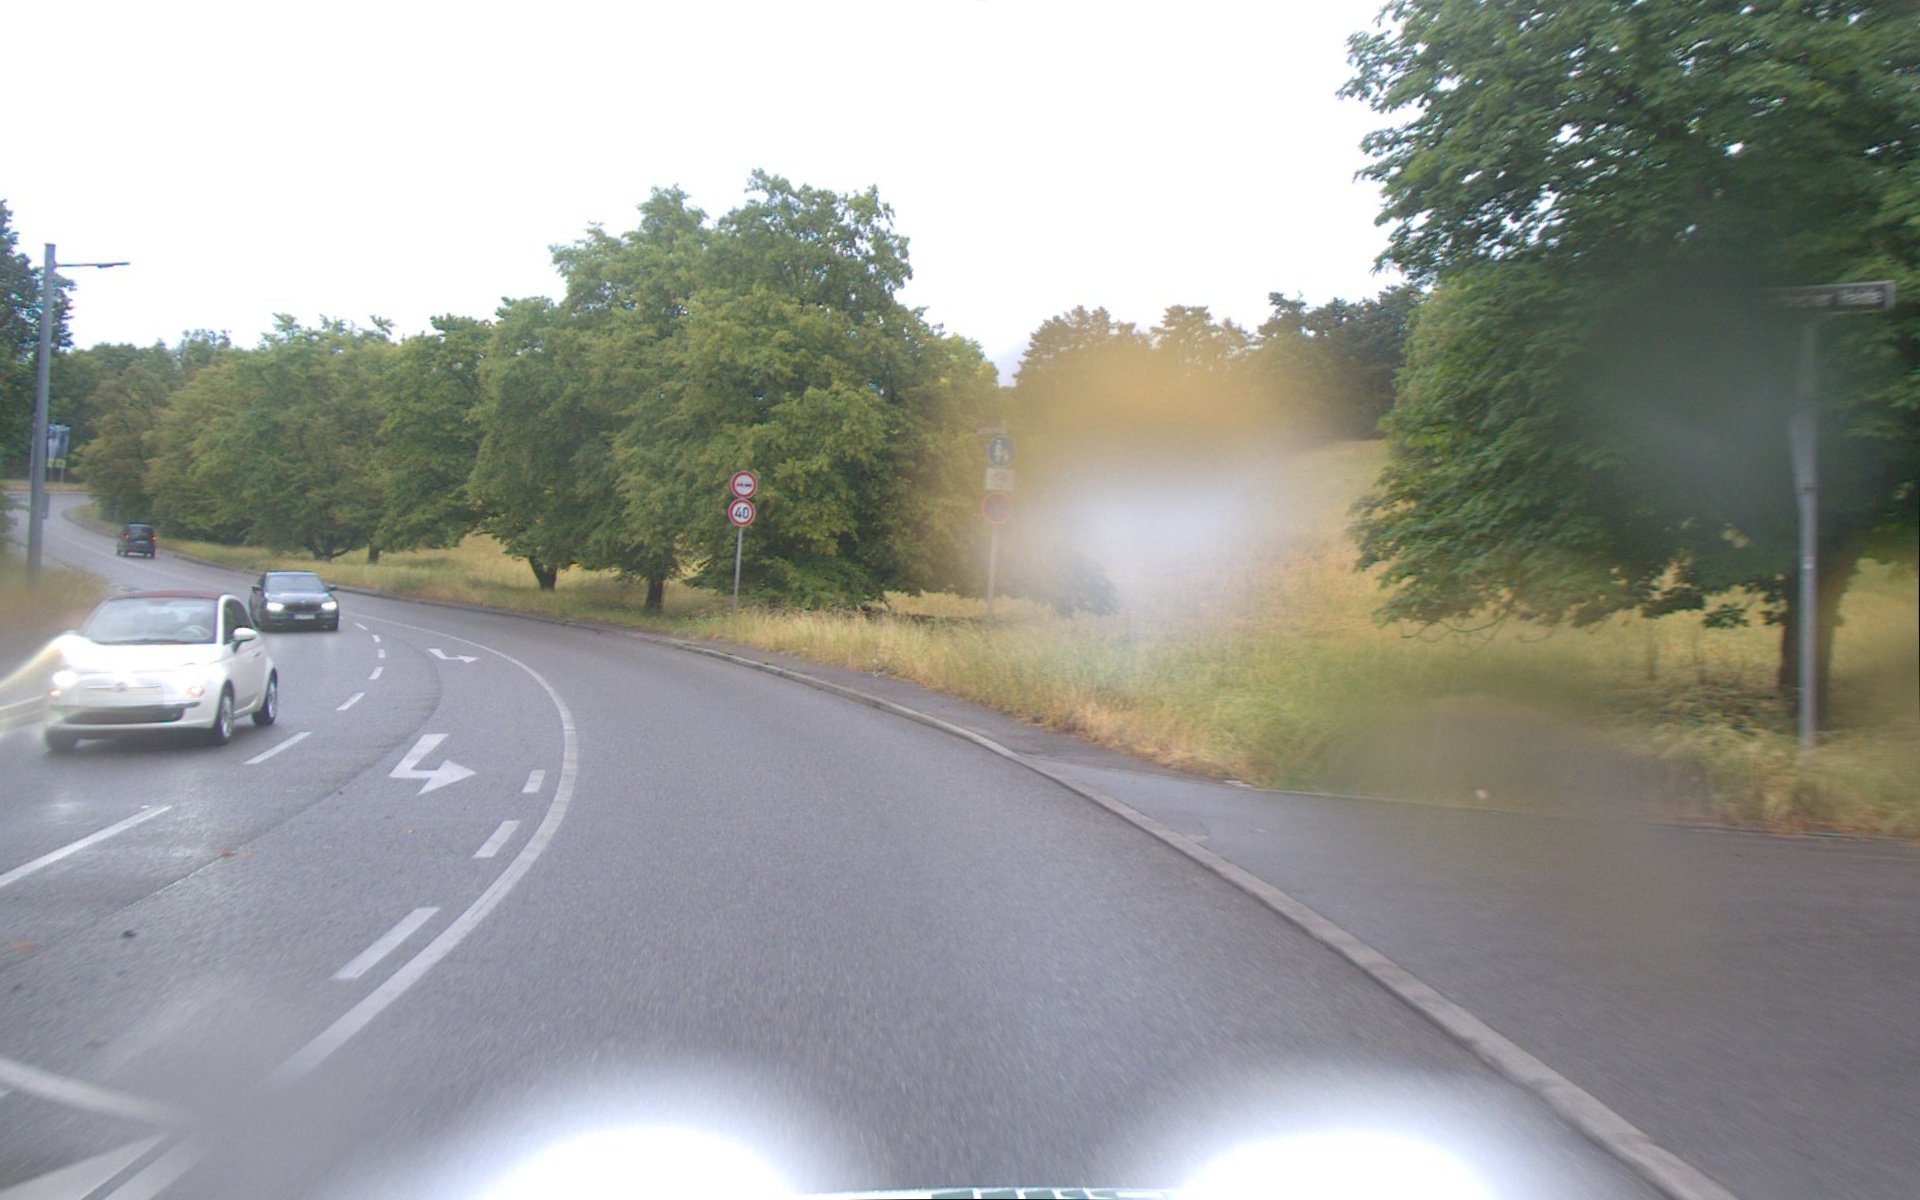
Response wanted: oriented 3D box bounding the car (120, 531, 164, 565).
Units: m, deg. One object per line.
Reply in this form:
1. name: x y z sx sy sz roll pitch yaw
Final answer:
1. car: -47.754 -3.049 96.552 1.726 1.746 3.955 4 1 -33

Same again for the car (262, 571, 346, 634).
1. car: -17.255 0.049 43.393 1.823 1.527 4.595 -1 1 -25

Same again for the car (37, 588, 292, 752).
1. car: -8.114 0.631 17.192 1.539 1.503 3.656 0 0 -12
